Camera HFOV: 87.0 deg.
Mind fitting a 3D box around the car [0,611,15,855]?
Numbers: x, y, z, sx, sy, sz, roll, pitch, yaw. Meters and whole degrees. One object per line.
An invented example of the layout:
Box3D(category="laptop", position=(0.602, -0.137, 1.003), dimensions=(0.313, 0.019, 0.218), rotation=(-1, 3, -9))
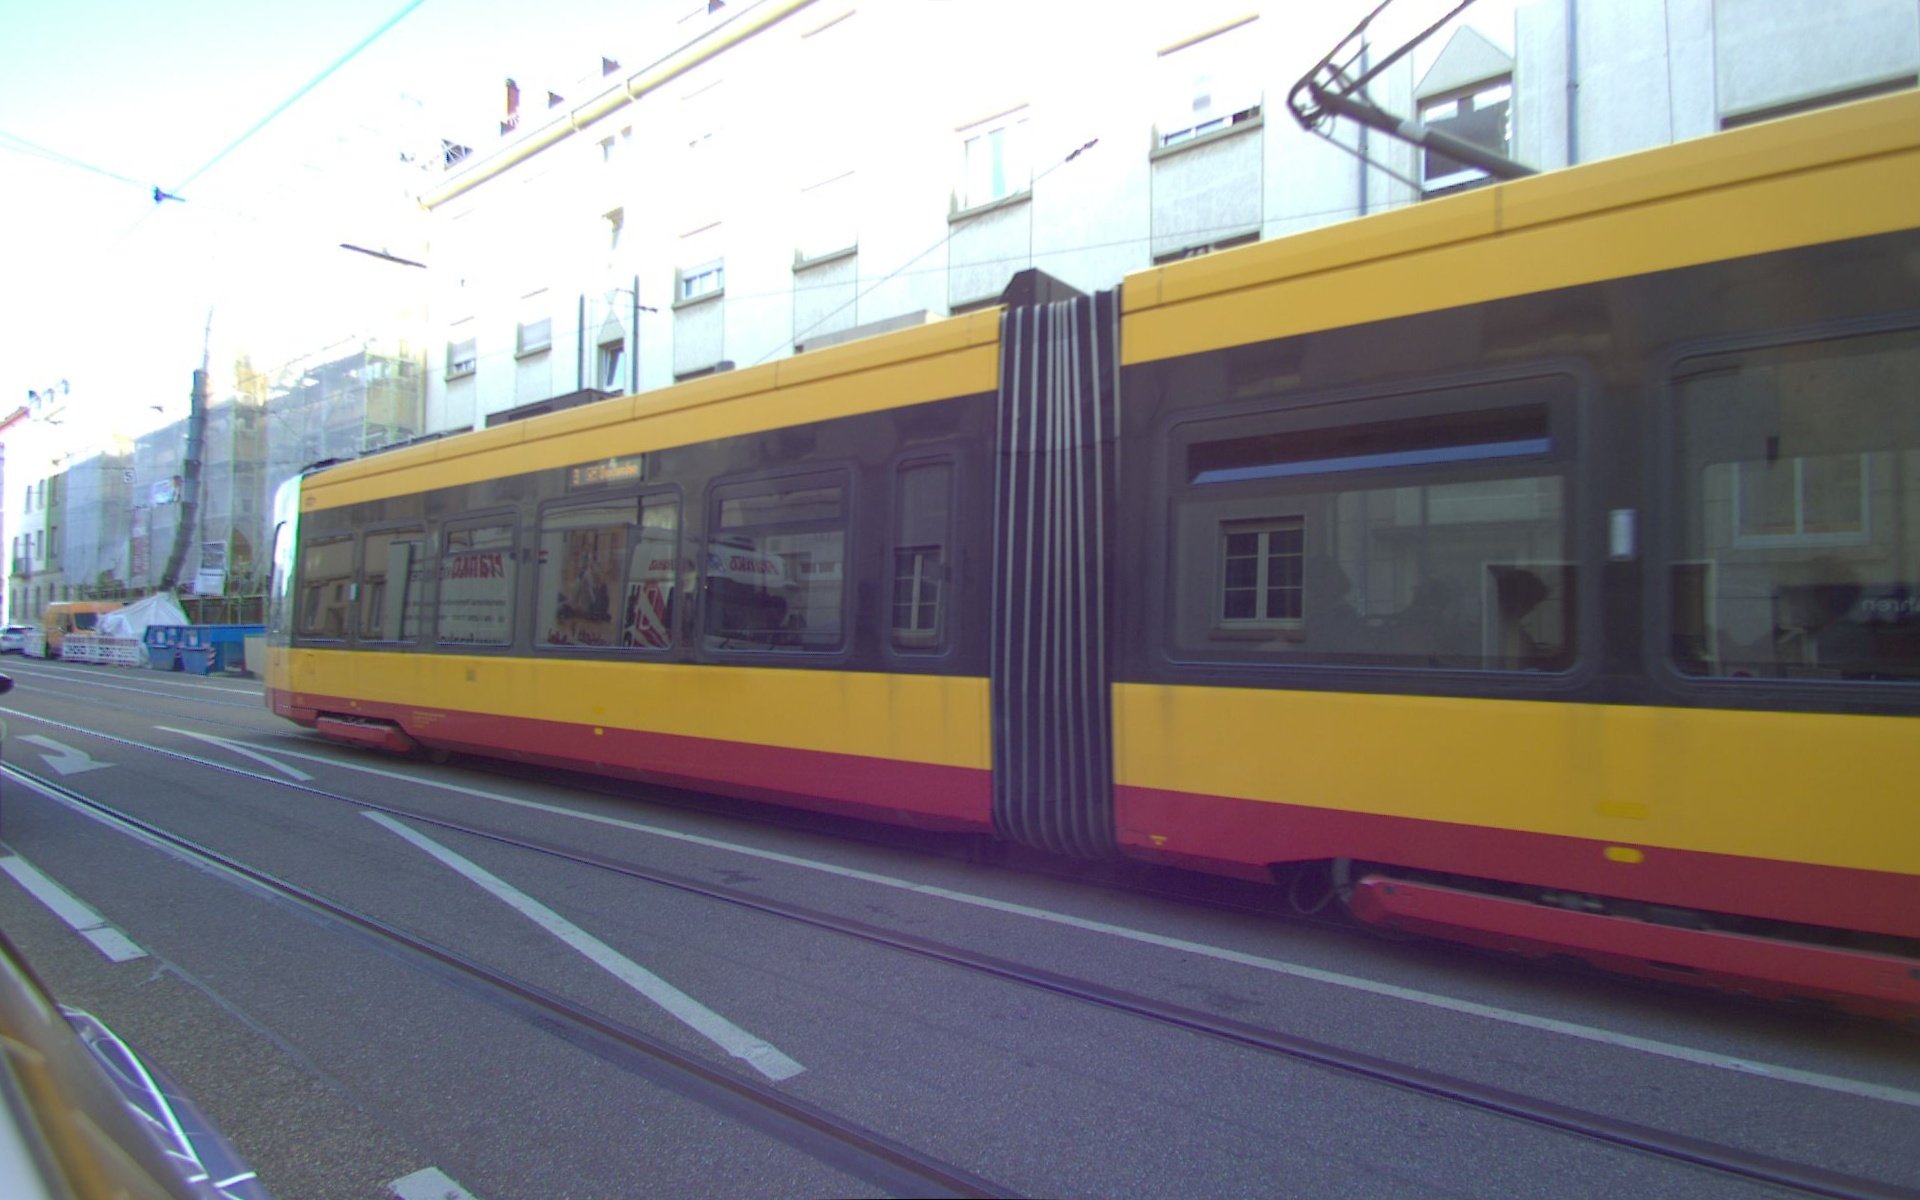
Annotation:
Box3D(category="car", position=(-7.990, 0.845, 6.983), dimensions=(3.997, 1.515, 1.670), rotation=(-2, -3, 40))

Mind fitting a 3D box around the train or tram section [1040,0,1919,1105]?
Box3D(category="train or tram section", position=(4.857, -0.291, 3.449), dimensions=(9.069, 3.658, 2.799), rotation=(-1, 0, 37))

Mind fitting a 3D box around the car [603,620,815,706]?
Box3D(category="car", position=(-4.361, 1.017, 17.437), dimensions=(3.483, 1.286, 1.730), rotation=(-1, 0, 37))

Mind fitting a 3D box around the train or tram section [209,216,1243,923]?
Box3D(category="train or tram section", position=(-3.743, -0.034, 10.310), dimensions=(12.615, 3.621, 3.032), rotation=(-1, -3, 39))

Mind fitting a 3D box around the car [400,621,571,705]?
Box3D(category="car", position=(-10.333, 1.287, 21.938), dimensions=(4.108, 1.603, 1.691), rotation=(-1, 0, 38))
